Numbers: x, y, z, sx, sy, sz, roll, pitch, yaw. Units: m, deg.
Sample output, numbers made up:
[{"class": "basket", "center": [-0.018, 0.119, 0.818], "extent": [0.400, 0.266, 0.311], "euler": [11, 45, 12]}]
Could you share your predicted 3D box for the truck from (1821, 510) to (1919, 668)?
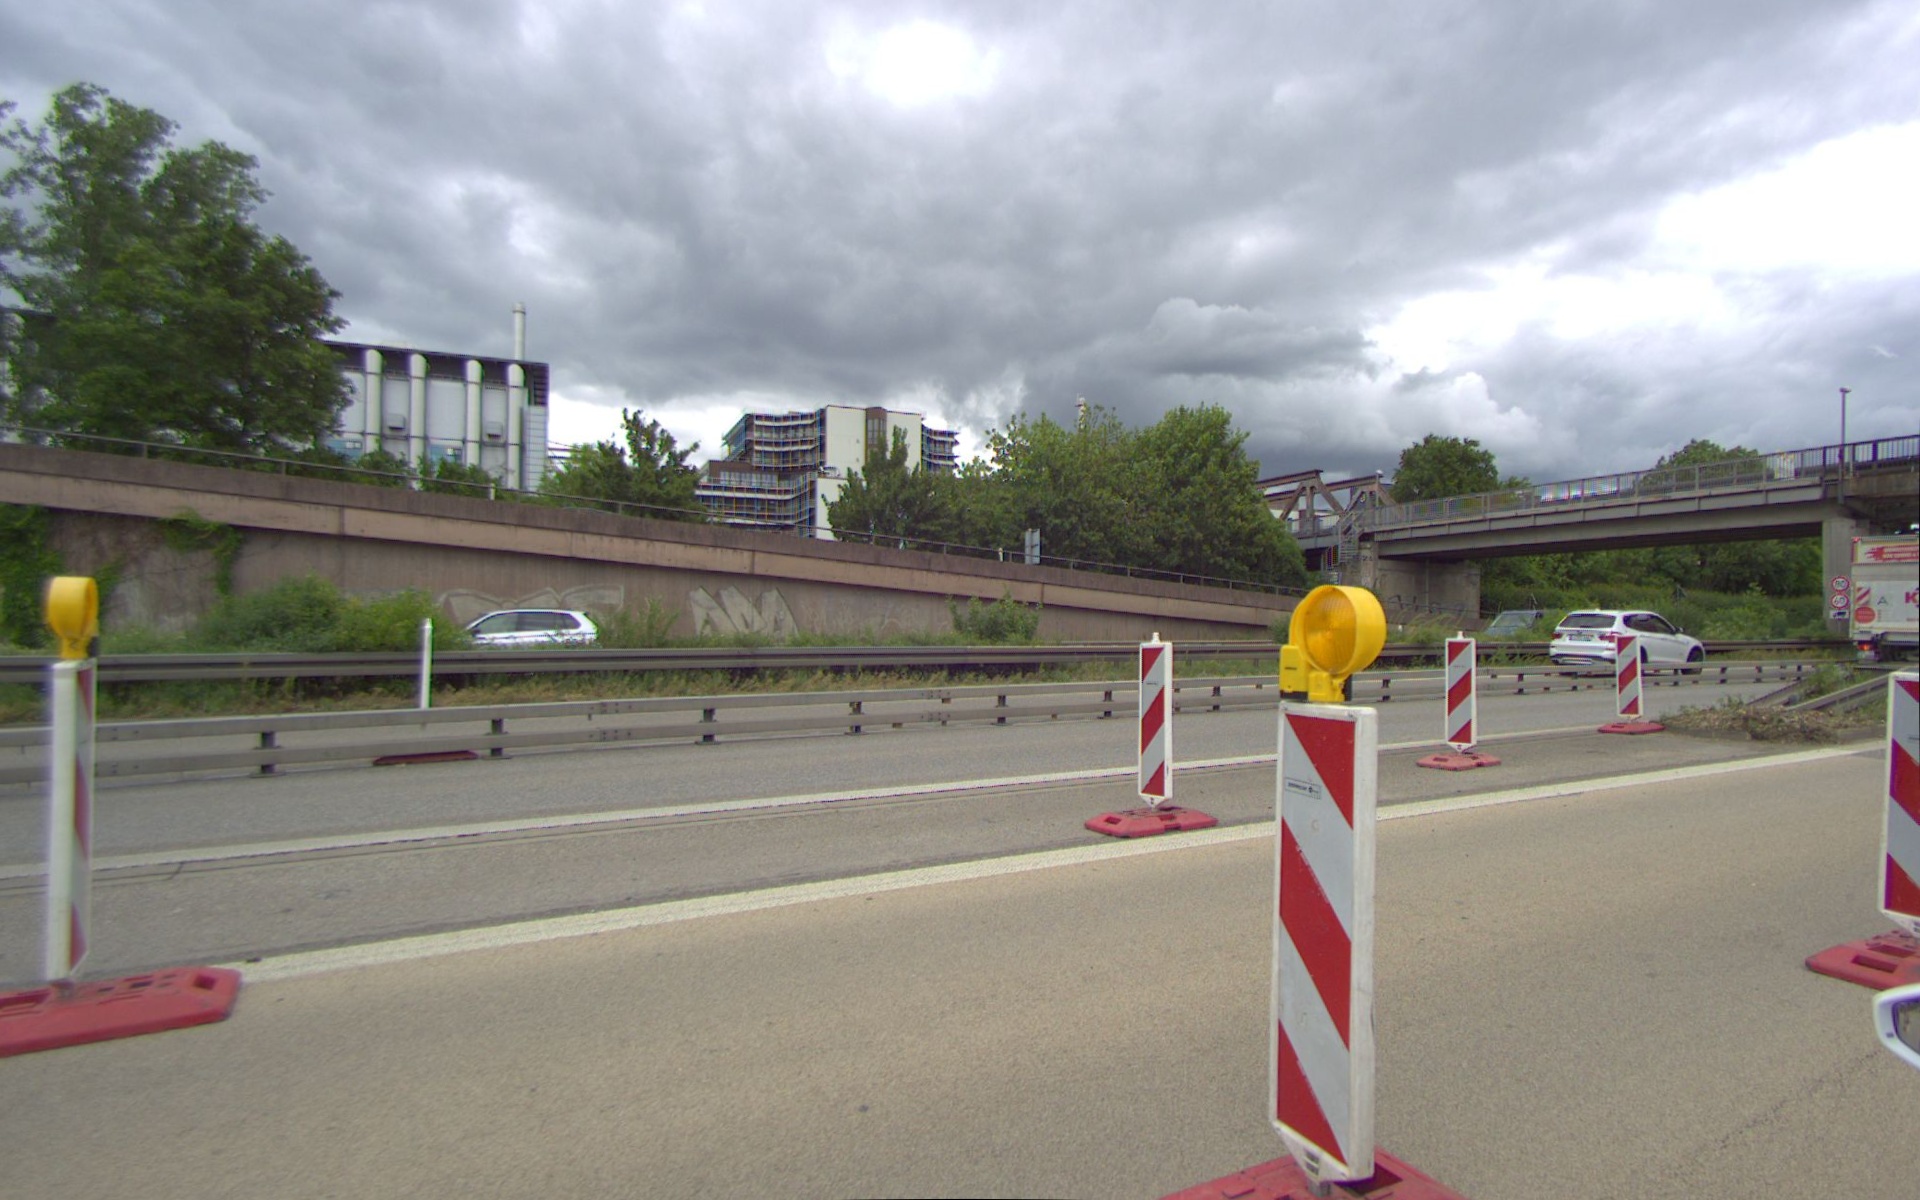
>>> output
[{"class": "truck", "center": [26.612, -0.116, 26.326], "extent": [10.033, 3.677, 2.940], "euler": [2, -1, -30]}]

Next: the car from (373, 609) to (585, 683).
[{"class": "car", "center": [-10.363, 0.980, 21.702], "extent": [3.936, 1.471, 1.879], "euler": [1, -2, -32]}]

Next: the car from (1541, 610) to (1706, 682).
[{"class": "car", "center": [16.835, 1.130, 25.438], "extent": [4.242, 1.662, 1.844], "euler": [1, 0, -31]}]
